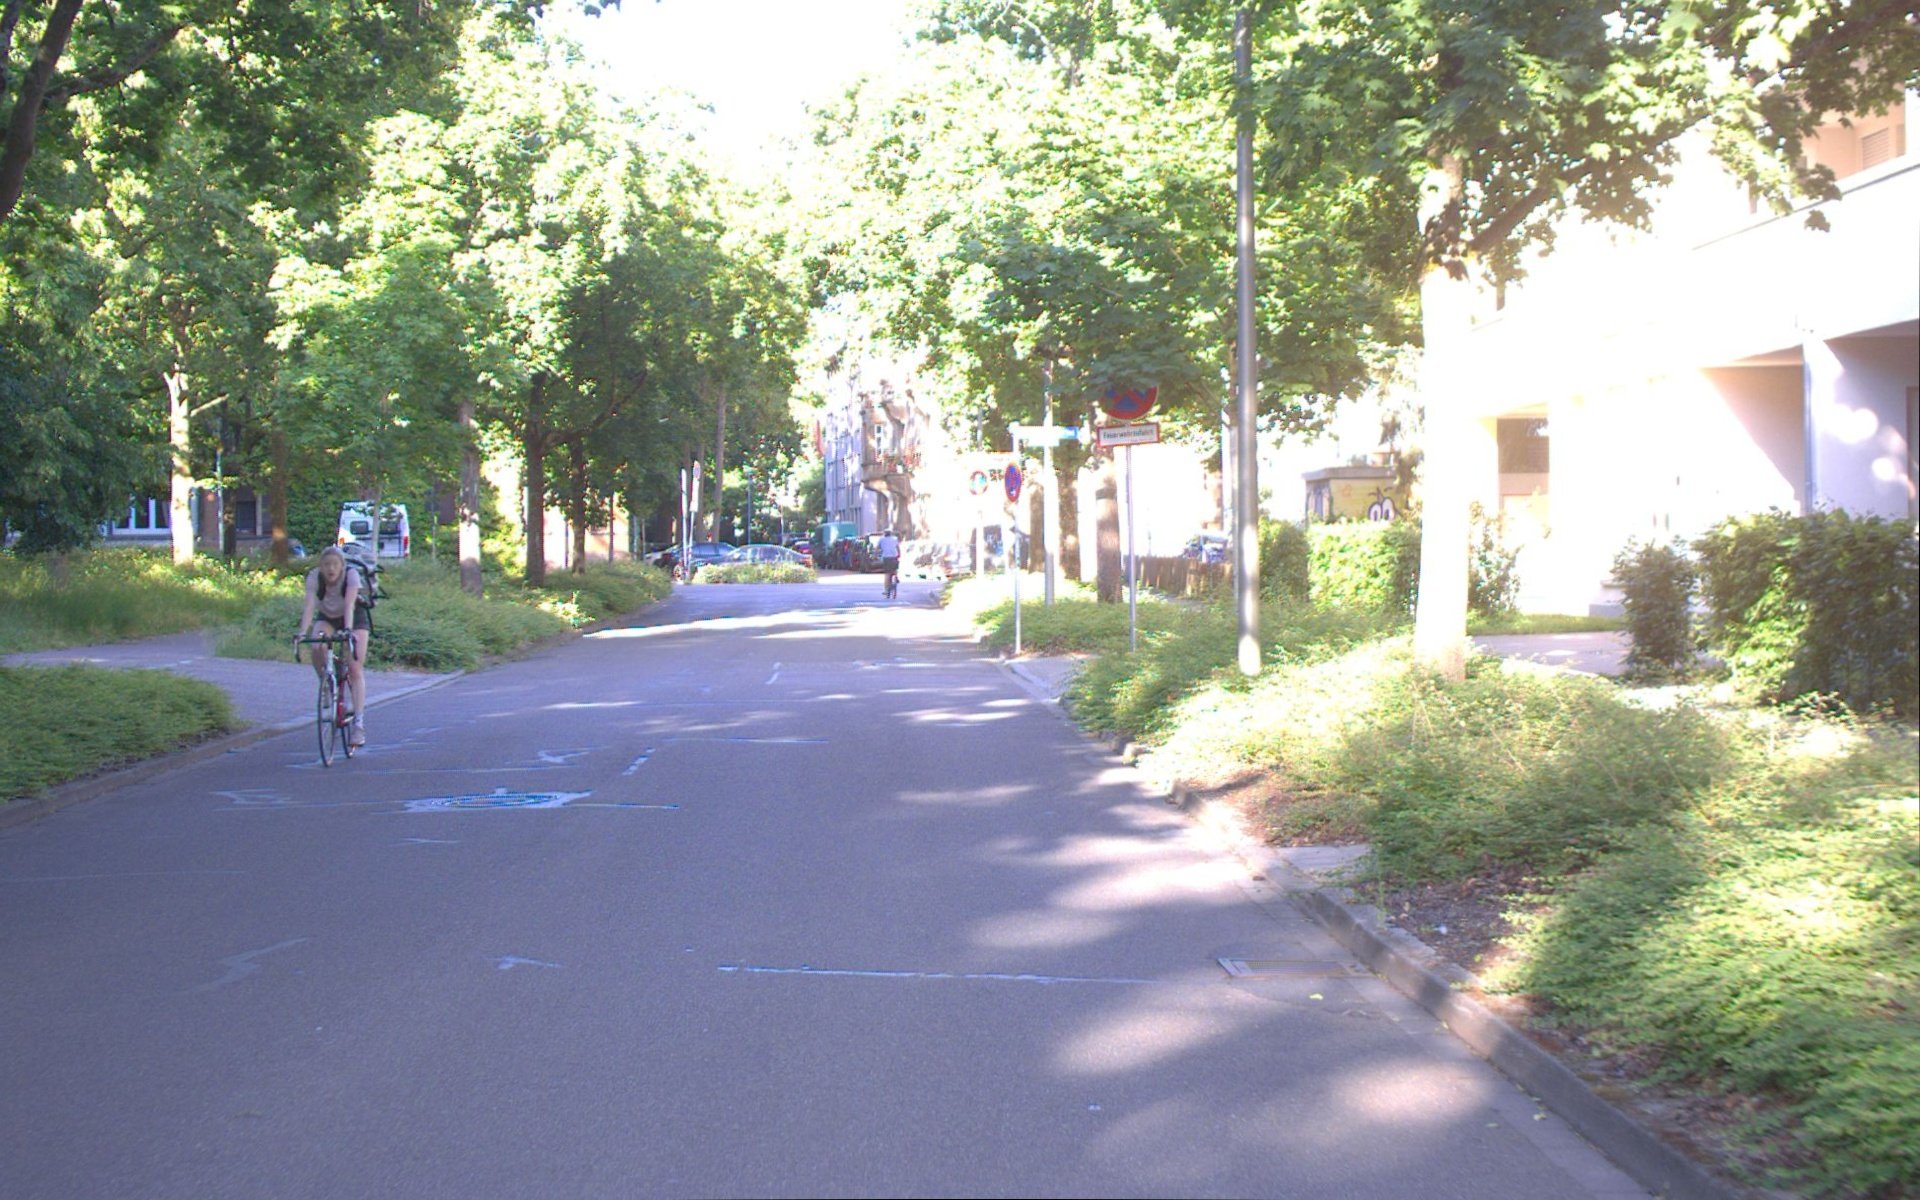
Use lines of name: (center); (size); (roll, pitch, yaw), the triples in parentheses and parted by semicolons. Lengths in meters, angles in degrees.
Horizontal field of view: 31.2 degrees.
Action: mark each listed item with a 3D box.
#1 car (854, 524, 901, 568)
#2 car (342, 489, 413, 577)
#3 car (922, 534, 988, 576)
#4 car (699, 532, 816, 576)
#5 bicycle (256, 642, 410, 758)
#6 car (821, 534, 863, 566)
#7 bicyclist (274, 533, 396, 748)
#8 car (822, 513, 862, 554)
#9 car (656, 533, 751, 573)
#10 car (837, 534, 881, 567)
car: (-3.692, -2.402, 153.421); (1.811, 1.919, 4.001); (1, 1, -5)
car: (-17.144, -1.957, 101.019); (1.993, 2.499, 4.001); (0, 1, -10)
car: (-0.208, -1.645, 124.775); (1.811, 1.496, 4.001); (-1, 1, -9)
car: (-7.216, -1.644, 122.442); (3.986, 1.496, 1.818); (1, 1, -9)
bicycle: (-4.649, 0.728, 25.619); (0.639, 0.739, 2.126); (-2, 1, 3)
car: (-5.766, -2.440, 168.063); (1.811, 1.496, 4.001); (1, 1, -5)
bicyclist: (-4.656, 0.288, 25.643); (0.633, 1.549, 1.002); (-2, 1, 3)
car: (-6.143, -3.443, 178.255); (1.811, 2.043, 4.001); (1, 1, -5)
car: (-10.066, -1.829, 134.809); (3.586, 1.505, 1.500); (1, 1, -9)
car: (-4.740, -2.335, 161.545); (1.811, 1.496, 4.001); (1, 1, -5)
